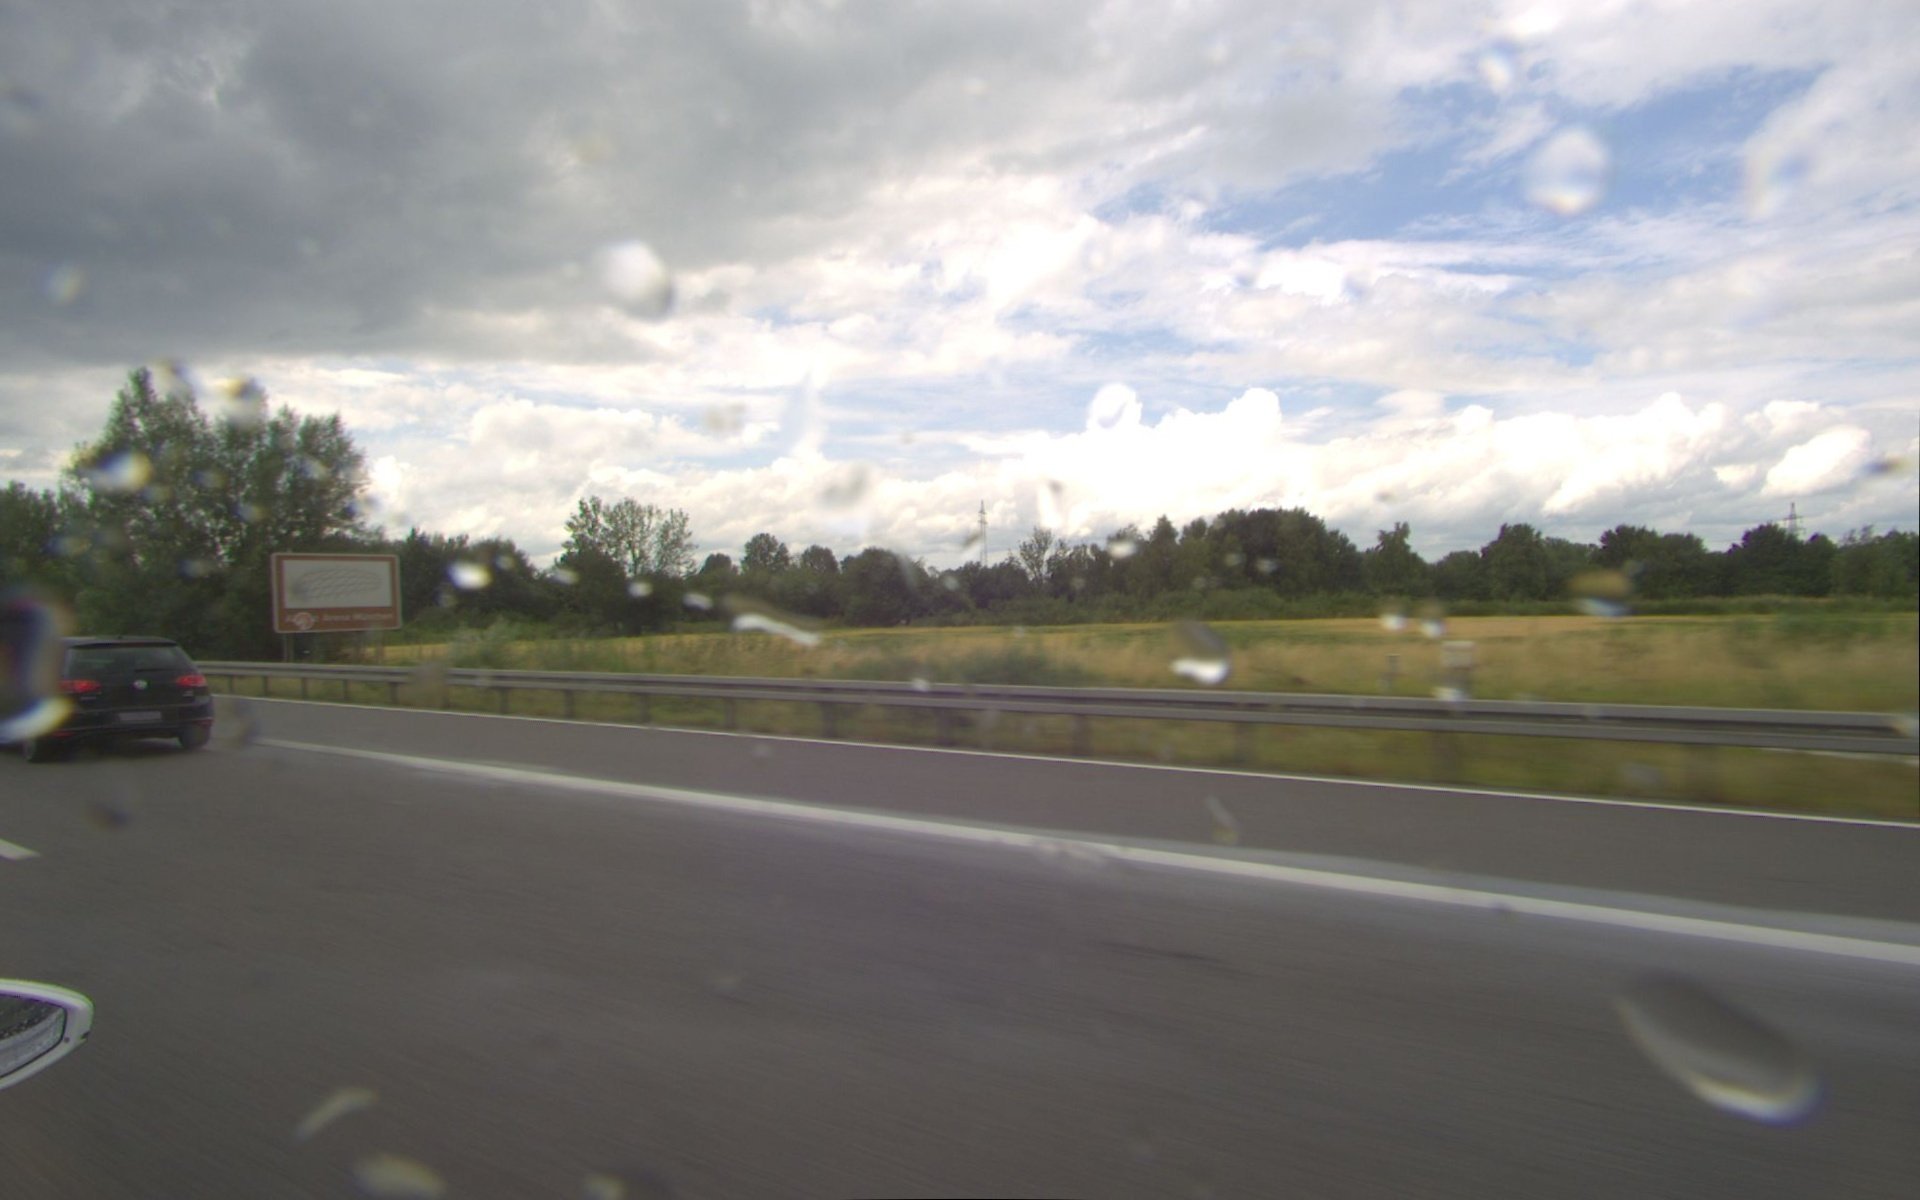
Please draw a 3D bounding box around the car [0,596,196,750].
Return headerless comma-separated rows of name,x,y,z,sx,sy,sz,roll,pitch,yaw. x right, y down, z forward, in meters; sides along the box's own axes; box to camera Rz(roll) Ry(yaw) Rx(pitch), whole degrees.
car,-11.449,0.835,12.765,4.402,1.652,1.700,-1,-1,38
